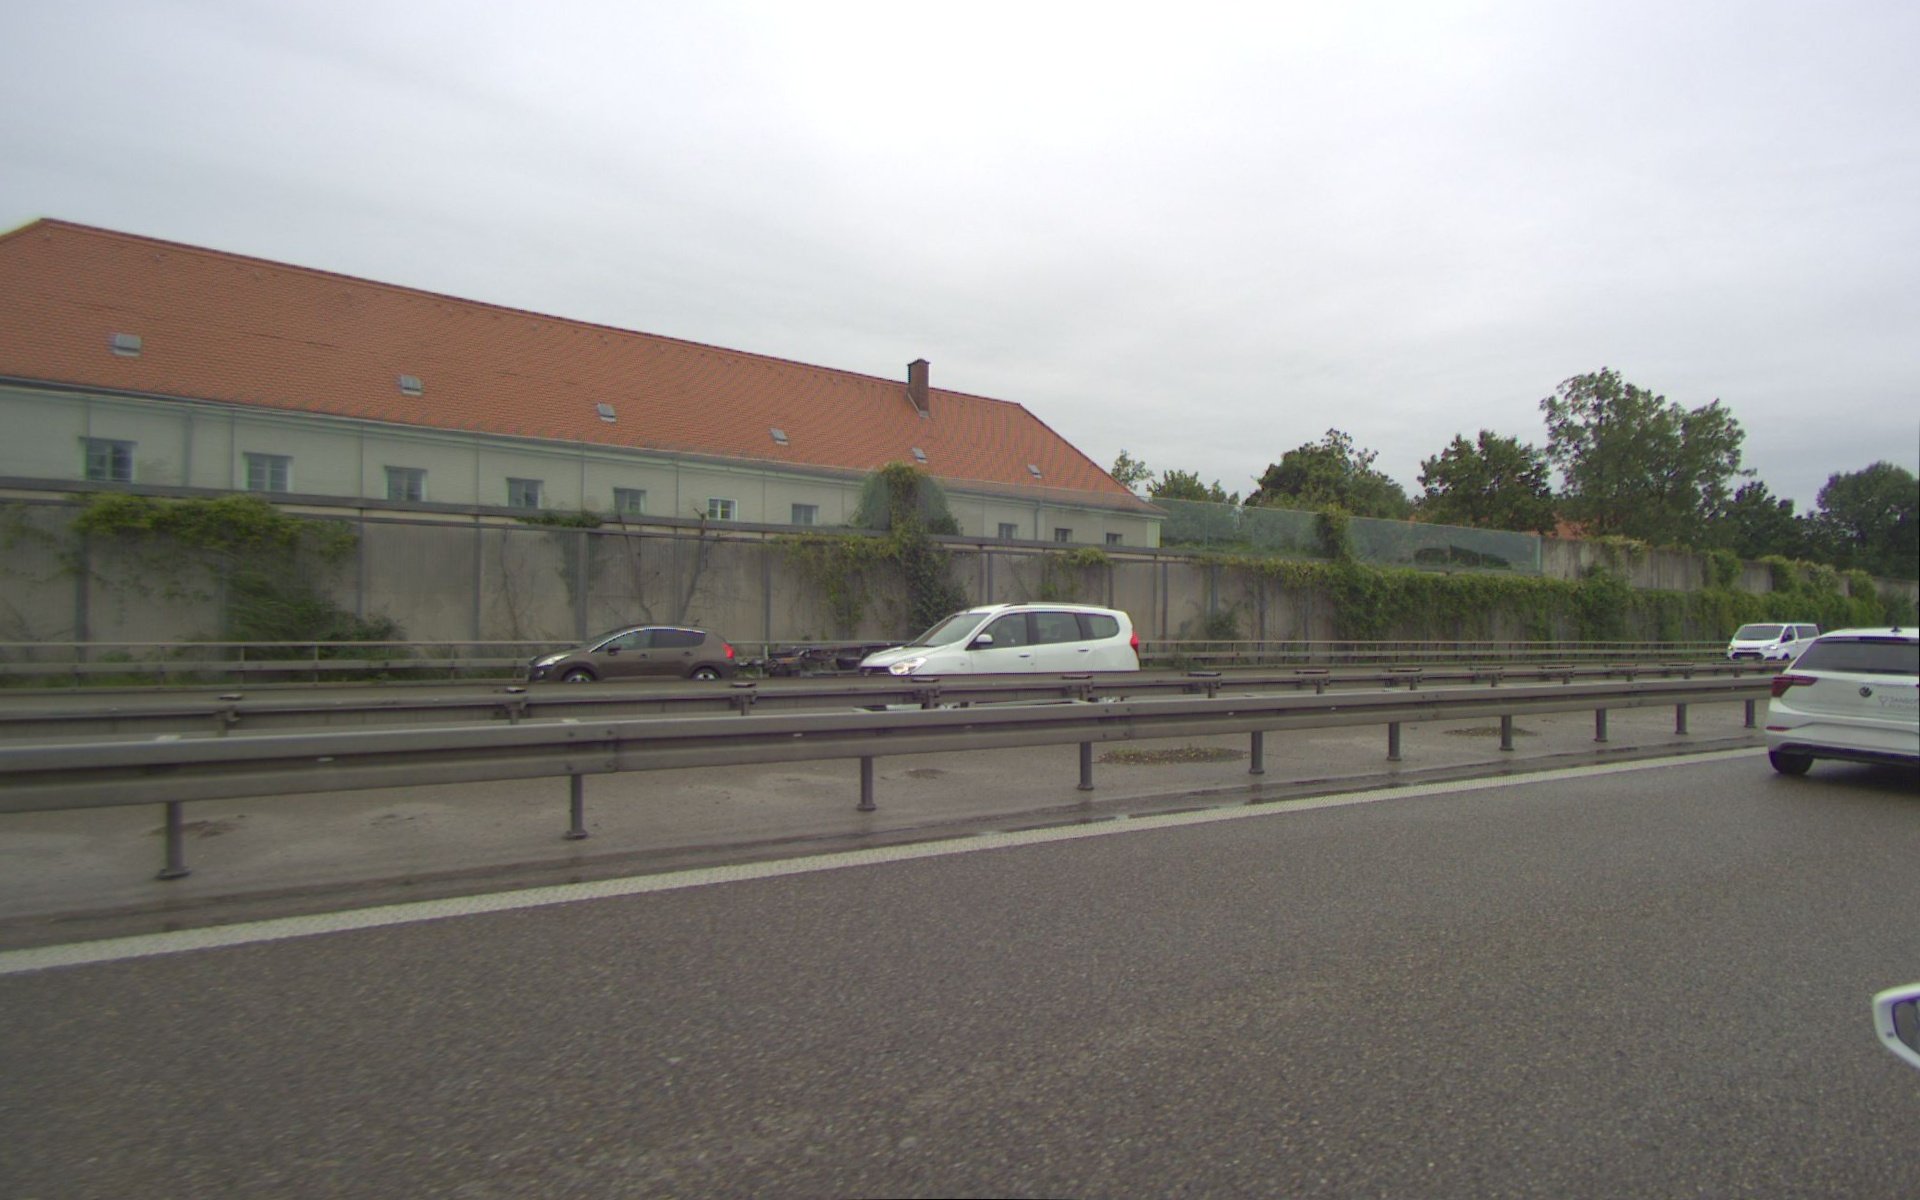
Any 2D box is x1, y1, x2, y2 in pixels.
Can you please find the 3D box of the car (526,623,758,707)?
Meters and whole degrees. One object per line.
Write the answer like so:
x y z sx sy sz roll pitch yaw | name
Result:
-6.831 1.351 21.668 4.466 1.573 1.947 2 0 -29 | car

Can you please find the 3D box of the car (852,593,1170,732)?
0.819 0.862 14.885 4.486 1.774 1.778 2 0 -32 | car

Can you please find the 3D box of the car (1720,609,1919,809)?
9.595 0.946 9.923 4.610 1.639 1.744 1 -1 -31 | car

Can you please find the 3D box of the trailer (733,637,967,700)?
-2.602 1.593 24.164 5.185 1.284 2.120 2 0 -30 | trailer

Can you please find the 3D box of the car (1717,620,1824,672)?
34.569 1.940 42.813 4.900 2.040 1.983 2 0 -31 | car
